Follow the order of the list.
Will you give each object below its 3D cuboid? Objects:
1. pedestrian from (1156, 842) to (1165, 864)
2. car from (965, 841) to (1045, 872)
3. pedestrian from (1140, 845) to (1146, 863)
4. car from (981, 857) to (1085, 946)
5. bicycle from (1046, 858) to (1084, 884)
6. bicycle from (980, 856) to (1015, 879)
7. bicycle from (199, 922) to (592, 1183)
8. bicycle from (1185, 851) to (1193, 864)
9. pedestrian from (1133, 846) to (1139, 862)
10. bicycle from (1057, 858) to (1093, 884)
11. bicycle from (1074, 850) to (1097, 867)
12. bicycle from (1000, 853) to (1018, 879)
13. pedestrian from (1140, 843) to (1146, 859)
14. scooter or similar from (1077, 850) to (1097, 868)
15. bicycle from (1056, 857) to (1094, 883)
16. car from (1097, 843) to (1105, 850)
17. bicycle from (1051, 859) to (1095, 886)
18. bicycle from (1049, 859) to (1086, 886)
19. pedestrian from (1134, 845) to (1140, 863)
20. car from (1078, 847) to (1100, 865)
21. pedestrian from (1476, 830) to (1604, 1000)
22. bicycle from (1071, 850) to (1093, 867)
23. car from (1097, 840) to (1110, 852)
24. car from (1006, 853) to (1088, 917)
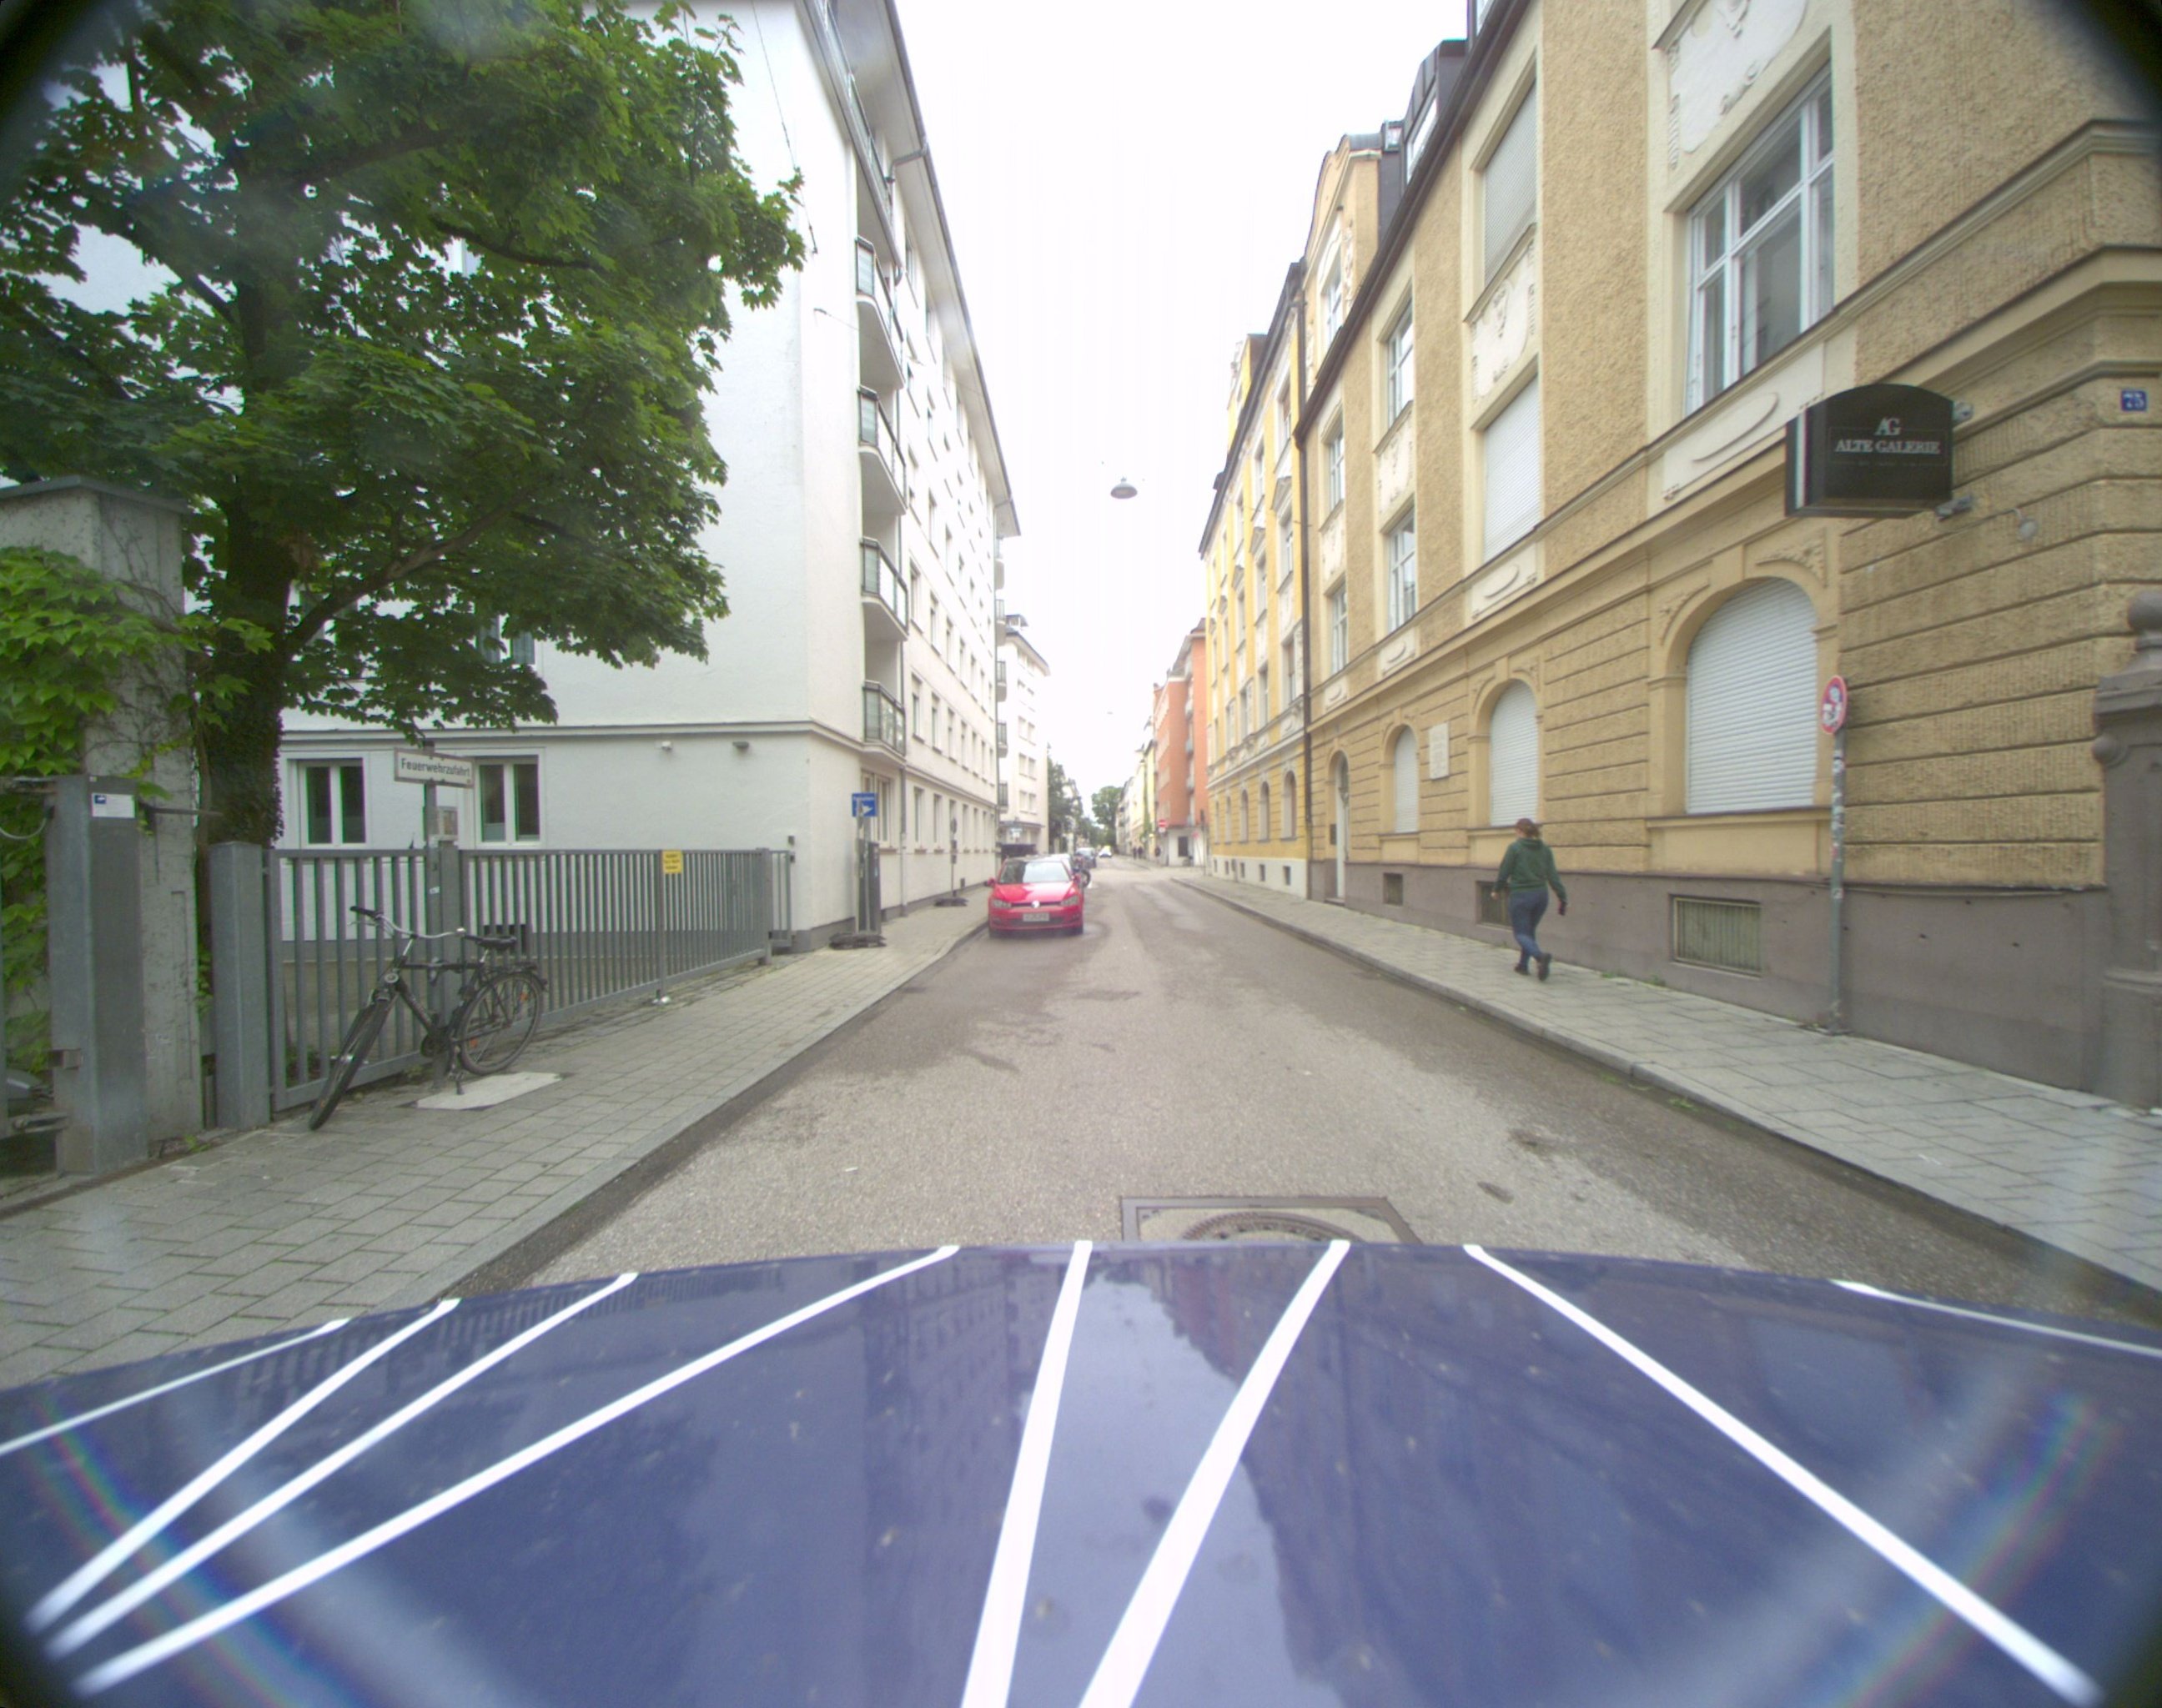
[{"bbox_3d":[6.188,-0.060,59.192,0.613,1.684,0.566,0,1,1],"label":"pedestrian"},{"bbox_3d":[-4.789,0.141,48.212,4.675,1.880,1.935,0,0,10],"label":"car"},{"bbox_3d":[7.005,-0.006,86.102,0.635,2.002,0.788,0,1,2],"label":"pedestrian"},{"bbox_3d":[-1.006,0.846,15.552,1.766,1.438,4.296,-2,1,-4],"label":"car"},{"bbox_3d":[-0.680,0.722,31.971,1.520,1.038,0.360,2,2,9],"label":"bicycle"},{"bbox_3d":[-3.837,0.621,34.907,1.502,1.038,0.398,1,2,-17],"label":"bicycle"},{"bbox_3d":[-3.998,1.069,4.697,0.709,1.191,1.834,-1,-2,2],"label":"bicycle"},{"bbox_3d":[7.952,0.232,56.049,0.391,0.932,1.540,0,1,2],"label":"bicycle"},{"bbox_3d":[6.207,-0.039,85.845,0.726,1.783,0.830,0,1,2],"label":"pedestrian"},{"bbox_3d":[-0.262,0.722,32.298,1.441,1.038,0.360,2,2,10],"label":"bicycle"},{"bbox_3d":[0.316,0.328,55.491,1.607,1.207,0.529,0,1,4],"label":"bicycle"},{"bbox_3d":[-3.471,0.561,36.747,0.399,1.198,1.502,1,2,-23],"label":"bicycle"},{"bbox_3d":[7.024,-0.346,86.103,0.699,1.783,0.763,0,1,2],"label":"pedestrian"},{"bbox_3d":[0.437,0.353,54.061,1.340,1.207,0.344,0,1,4],"label":"scooter or similar"},{"bbox_3d":[-0.273,0.713,33.969,1.699,1.154,0.378,-1,1,1],"label":"bicycle"},{"bbox_3d":[5.317,-1.976,204.183,1.998,2.002,4.646,-1,1,1],"label":"car"},{"bbox_3d":[-0.324,0.747,30.583,1.707,1.038,0.360,1,2,2],"label":"bicycle"},{"bbox_3d":[-0.560,0.739,31.055,1.438,1.038,0.330,2,2,10],"label":"bicycle"},{"bbox_3d":[6.352,0.024,86.047,0.635,2.002,0.788,0,1,2],"label":"pedestrian"},{"bbox_3d":[0.672,0.149,61.880,1.653,1.391,4.000,0,1,2],"label":"car"},{"bbox_3d":[4.801,0.602,8.015,0.714,1.656,0.929,-4,1,1],"label":"pedestrian"},{"bbox_3d":[0.098,0.319,56.068,1.607,1.207,0.529,0,1,4],"label":"bicycle"},{"bbox_3d":[3.526,-1.220,117.439,1.929,1.795,4.444,-1,1,1],"label":"car"},{"bbox_3d":[-0.813,0.759,20.830,1.799,1.430,4.383,-2,1,3],"label":"car"}]
